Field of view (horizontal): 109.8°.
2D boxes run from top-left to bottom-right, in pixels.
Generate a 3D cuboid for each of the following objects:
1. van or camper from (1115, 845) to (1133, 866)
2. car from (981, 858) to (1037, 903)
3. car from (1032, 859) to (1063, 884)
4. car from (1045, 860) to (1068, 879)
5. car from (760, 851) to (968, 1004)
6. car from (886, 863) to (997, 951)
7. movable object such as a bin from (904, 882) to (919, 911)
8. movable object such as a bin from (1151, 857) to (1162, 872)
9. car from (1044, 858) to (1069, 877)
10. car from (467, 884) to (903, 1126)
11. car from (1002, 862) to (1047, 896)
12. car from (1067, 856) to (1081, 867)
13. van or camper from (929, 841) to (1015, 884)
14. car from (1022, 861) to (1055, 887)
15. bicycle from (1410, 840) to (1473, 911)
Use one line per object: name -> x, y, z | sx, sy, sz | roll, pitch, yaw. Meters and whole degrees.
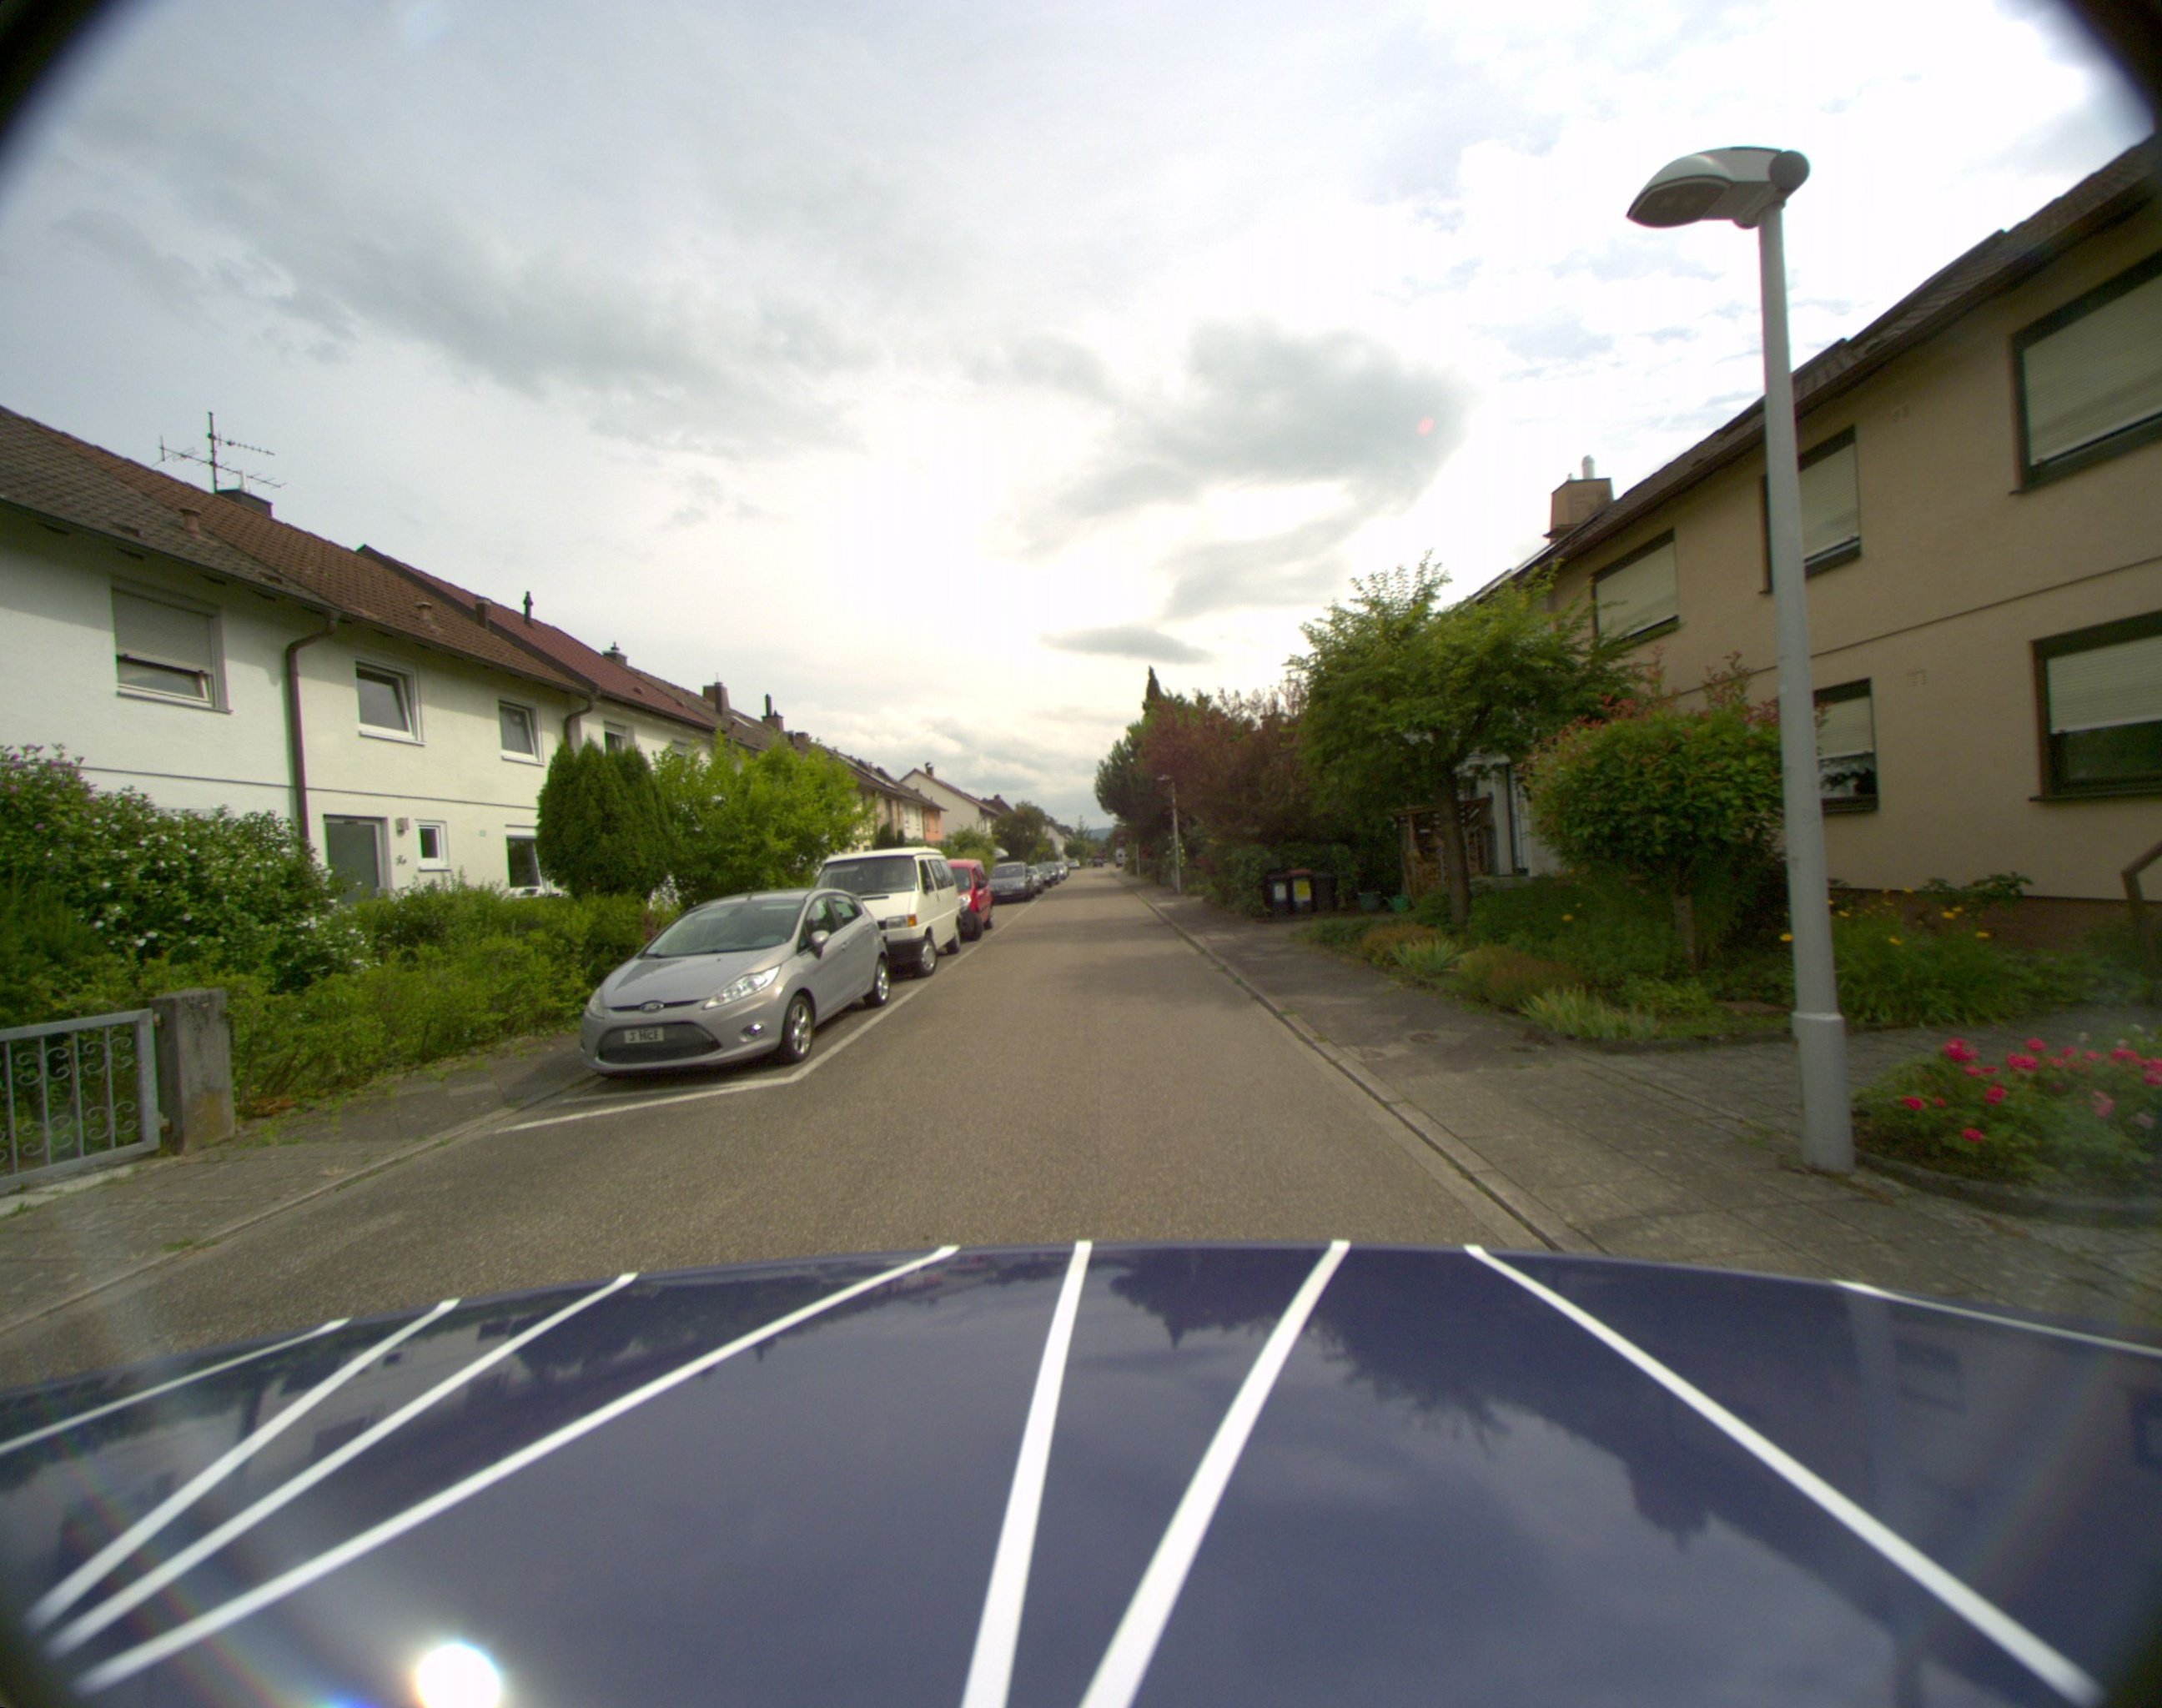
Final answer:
van or camper -> 6.007, 0.190, 106.983 | 2.346, 2.719, 5.748 | -4, 0, 2
car -> -2.914, 1.040, 31.667 | 1.872, 1.643, 4.464 | -4, 0, -1
car -> -2.247, 1.165, 51.625 | 1.753, 1.458, 4.648 | -4, 0, 1
car -> -2.032, 1.290, 63.947 | 1.707, 1.433, 4.220 | -5, 0, -1
car -> -3.235, 0.986, 12.498 | 2.026, 1.936, 4.747 | -3, 0, -1
car -> -3.053, 1.095, 17.496 | 1.815, 1.641, 4.410 | -3, 0, -2
movable object such as a bin -> -6.369, 1.586, 28.548 | 0.405, 1.027, 0.790 | -4, 0, -7
movable object such as a bin -> 5.646, 0.762, 56.974 | 0.705, 1.065, 0.822 | -2, 0, 1
car -> -1.994, 1.100, 63.979 | 1.746, 1.462, 4.218 | -3, 0, 2
car -> -3.268, 1.147, 7.394 | 1.905, 1.451, 4.130 | -3, 0, 2
car -> -2.763, 1.211, 38.108 | 1.872, 1.399, 4.767 | -5, 0, -1
car -> -1.051, 1.139, 116.756 | 1.999, 1.589, 3.999 | -4, 0, -2
van or camper -> -8.068, 0.632, 56.471 | 5.812, 2.801, 2.537 | -3, 0, 2
car -> -2.525, 1.179, 45.971 | 1.737, 1.419, 4.125 | -4, 0, -1
bicycle -> 7.561, 0.431, 16.015 | 0.432, 1.387, 1.848 | -3, 0, 2
